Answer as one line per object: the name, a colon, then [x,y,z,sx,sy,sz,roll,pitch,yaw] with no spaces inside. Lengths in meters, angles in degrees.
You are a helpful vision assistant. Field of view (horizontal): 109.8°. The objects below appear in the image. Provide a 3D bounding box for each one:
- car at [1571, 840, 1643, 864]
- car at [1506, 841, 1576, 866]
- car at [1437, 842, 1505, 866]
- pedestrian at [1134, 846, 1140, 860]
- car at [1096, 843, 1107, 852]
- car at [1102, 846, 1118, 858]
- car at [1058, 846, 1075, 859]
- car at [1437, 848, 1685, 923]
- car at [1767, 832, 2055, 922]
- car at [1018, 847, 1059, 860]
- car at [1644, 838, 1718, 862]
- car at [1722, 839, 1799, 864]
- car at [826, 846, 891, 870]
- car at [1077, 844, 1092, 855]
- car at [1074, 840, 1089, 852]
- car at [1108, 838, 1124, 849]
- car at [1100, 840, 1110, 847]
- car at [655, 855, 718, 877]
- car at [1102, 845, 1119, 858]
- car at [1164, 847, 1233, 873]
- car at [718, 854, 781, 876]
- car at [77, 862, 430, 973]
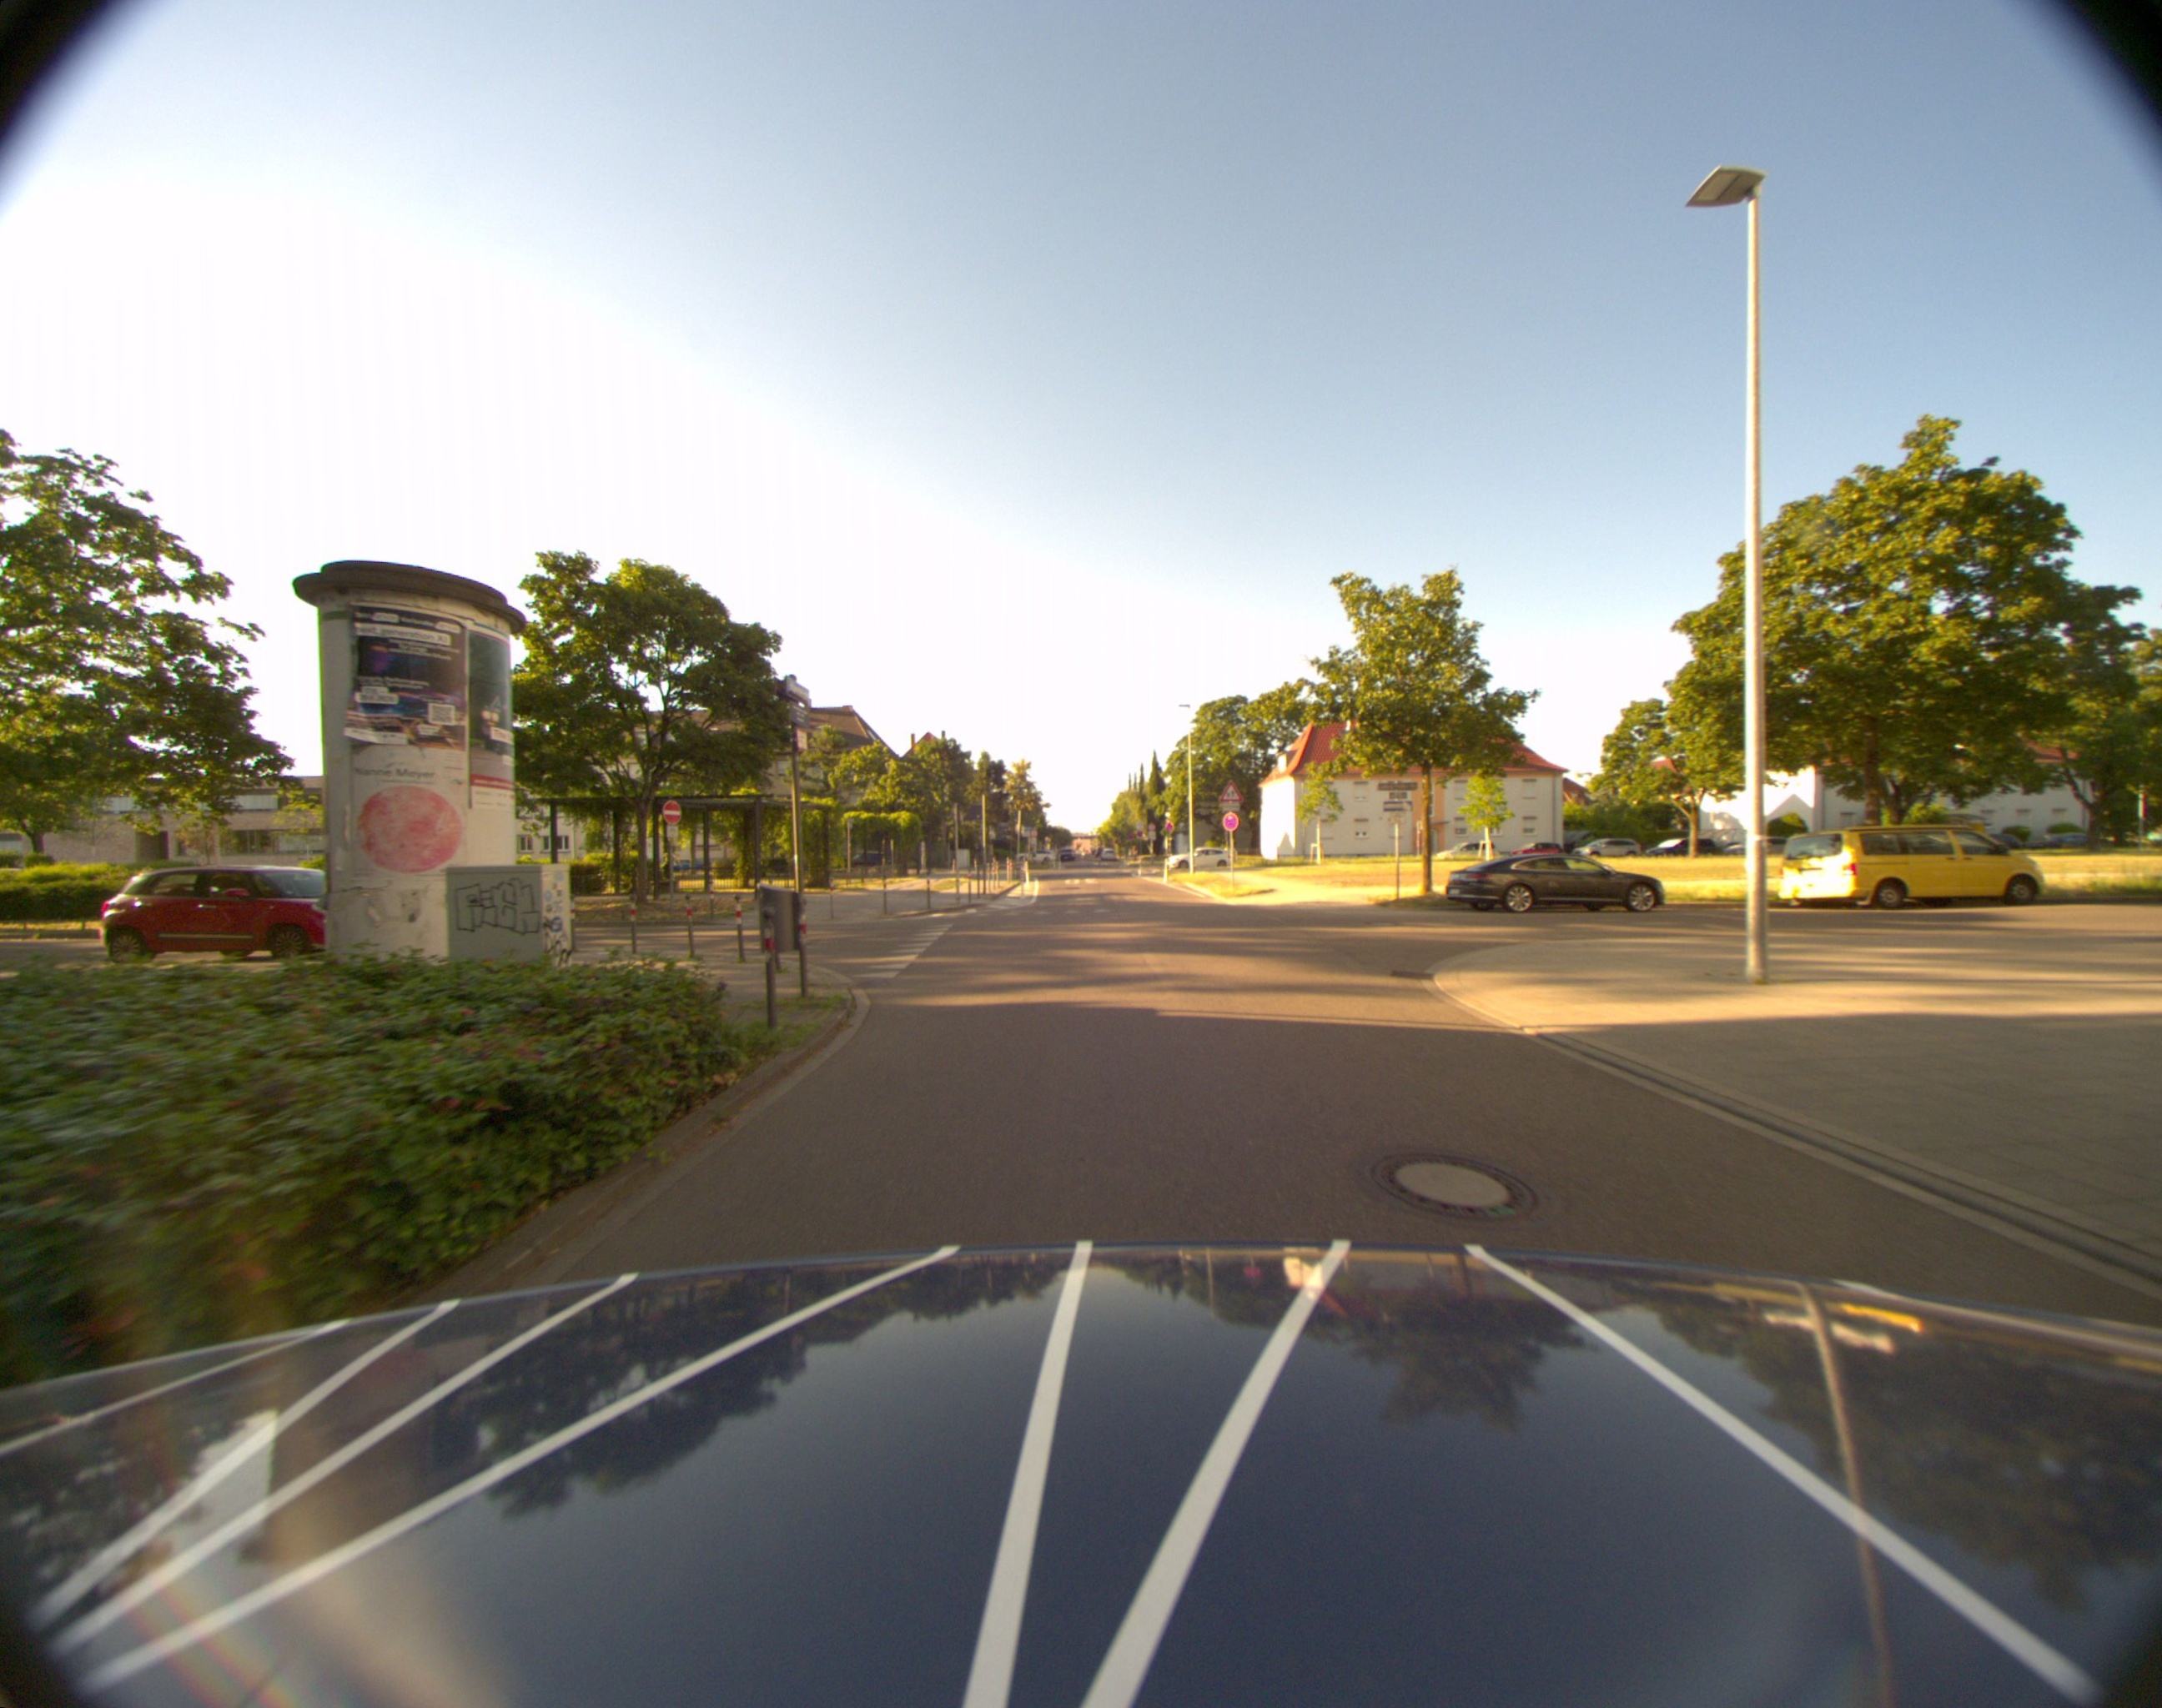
car: [38.295,-0.125,55.358,3.997,1.685,1.851,-1,-1,-2]
car: [33.677,-0.021,55.691,3.997,1.685,1.851,-1,-1,-2]
car: [28.505,0.035,55.577,3.997,1.685,1.851,-1,-1,-2]
pedestrian: [8.443,-0.148,114.388,0.898,2.002,0.692,-1,1,1]
car: [3.776,-1.244,142.256,1.970,1.604,4.246,-1,1,0]
car: [3.927,-0.271,104.547,1.970,1.604,4.246,-1,1,0]
car: [-1.798,-0.211,95.121,1.971,1.604,4.245,-1,1,-3]
car: [11.400,0.710,18.297,4.835,1.659,1.788,-1,1,1]
car: [19.909,0.580,18.413,4.691,2.001,2.034,-1,-3,0]
car: [-5.077,-0.077,90.775,4.835,1.604,1.971,0,1,-2]
car: [43.800,-0.278,55.509,3.997,1.685,1.851,-1,-1,-2]
car: [49.689,-0.166,55.588,3.997,1.685,1.851,-1,-1,-2]
car: [-16.269,0.315,55.659,4.213,1.631,1.823,-1,-2,-1]
car: [0.523,-0.685,115.577,1.971,1.604,4.245,-1,1,-3]
car: [0.037,-1.093,107.505,1.971,1.604,4.245,-1,1,-3]
car: [5.066,-1.541,110.289,1.970,1.604,4.246,-1,1,0]
car: [5.411,-2.306,172.448,1.970,1.604,4.246,-1,1,0]
car: [-29.158,0.883,56.214,3.757,1.509,1.735,-1,1,1]
car: [3.668,-0.289,96.001,1.970,1.604,4.246,-1,1,0]
car: [8.024,0.439,52.079,4.299,1.685,1.870,-1,-1,-5]
car: [-24.414,0.791,56.008,3.769,1.517,1.771,-1,2,4]
car: [-14.067,1.044,13.117,4.085,1.730,1.812,-1,-1,0]
